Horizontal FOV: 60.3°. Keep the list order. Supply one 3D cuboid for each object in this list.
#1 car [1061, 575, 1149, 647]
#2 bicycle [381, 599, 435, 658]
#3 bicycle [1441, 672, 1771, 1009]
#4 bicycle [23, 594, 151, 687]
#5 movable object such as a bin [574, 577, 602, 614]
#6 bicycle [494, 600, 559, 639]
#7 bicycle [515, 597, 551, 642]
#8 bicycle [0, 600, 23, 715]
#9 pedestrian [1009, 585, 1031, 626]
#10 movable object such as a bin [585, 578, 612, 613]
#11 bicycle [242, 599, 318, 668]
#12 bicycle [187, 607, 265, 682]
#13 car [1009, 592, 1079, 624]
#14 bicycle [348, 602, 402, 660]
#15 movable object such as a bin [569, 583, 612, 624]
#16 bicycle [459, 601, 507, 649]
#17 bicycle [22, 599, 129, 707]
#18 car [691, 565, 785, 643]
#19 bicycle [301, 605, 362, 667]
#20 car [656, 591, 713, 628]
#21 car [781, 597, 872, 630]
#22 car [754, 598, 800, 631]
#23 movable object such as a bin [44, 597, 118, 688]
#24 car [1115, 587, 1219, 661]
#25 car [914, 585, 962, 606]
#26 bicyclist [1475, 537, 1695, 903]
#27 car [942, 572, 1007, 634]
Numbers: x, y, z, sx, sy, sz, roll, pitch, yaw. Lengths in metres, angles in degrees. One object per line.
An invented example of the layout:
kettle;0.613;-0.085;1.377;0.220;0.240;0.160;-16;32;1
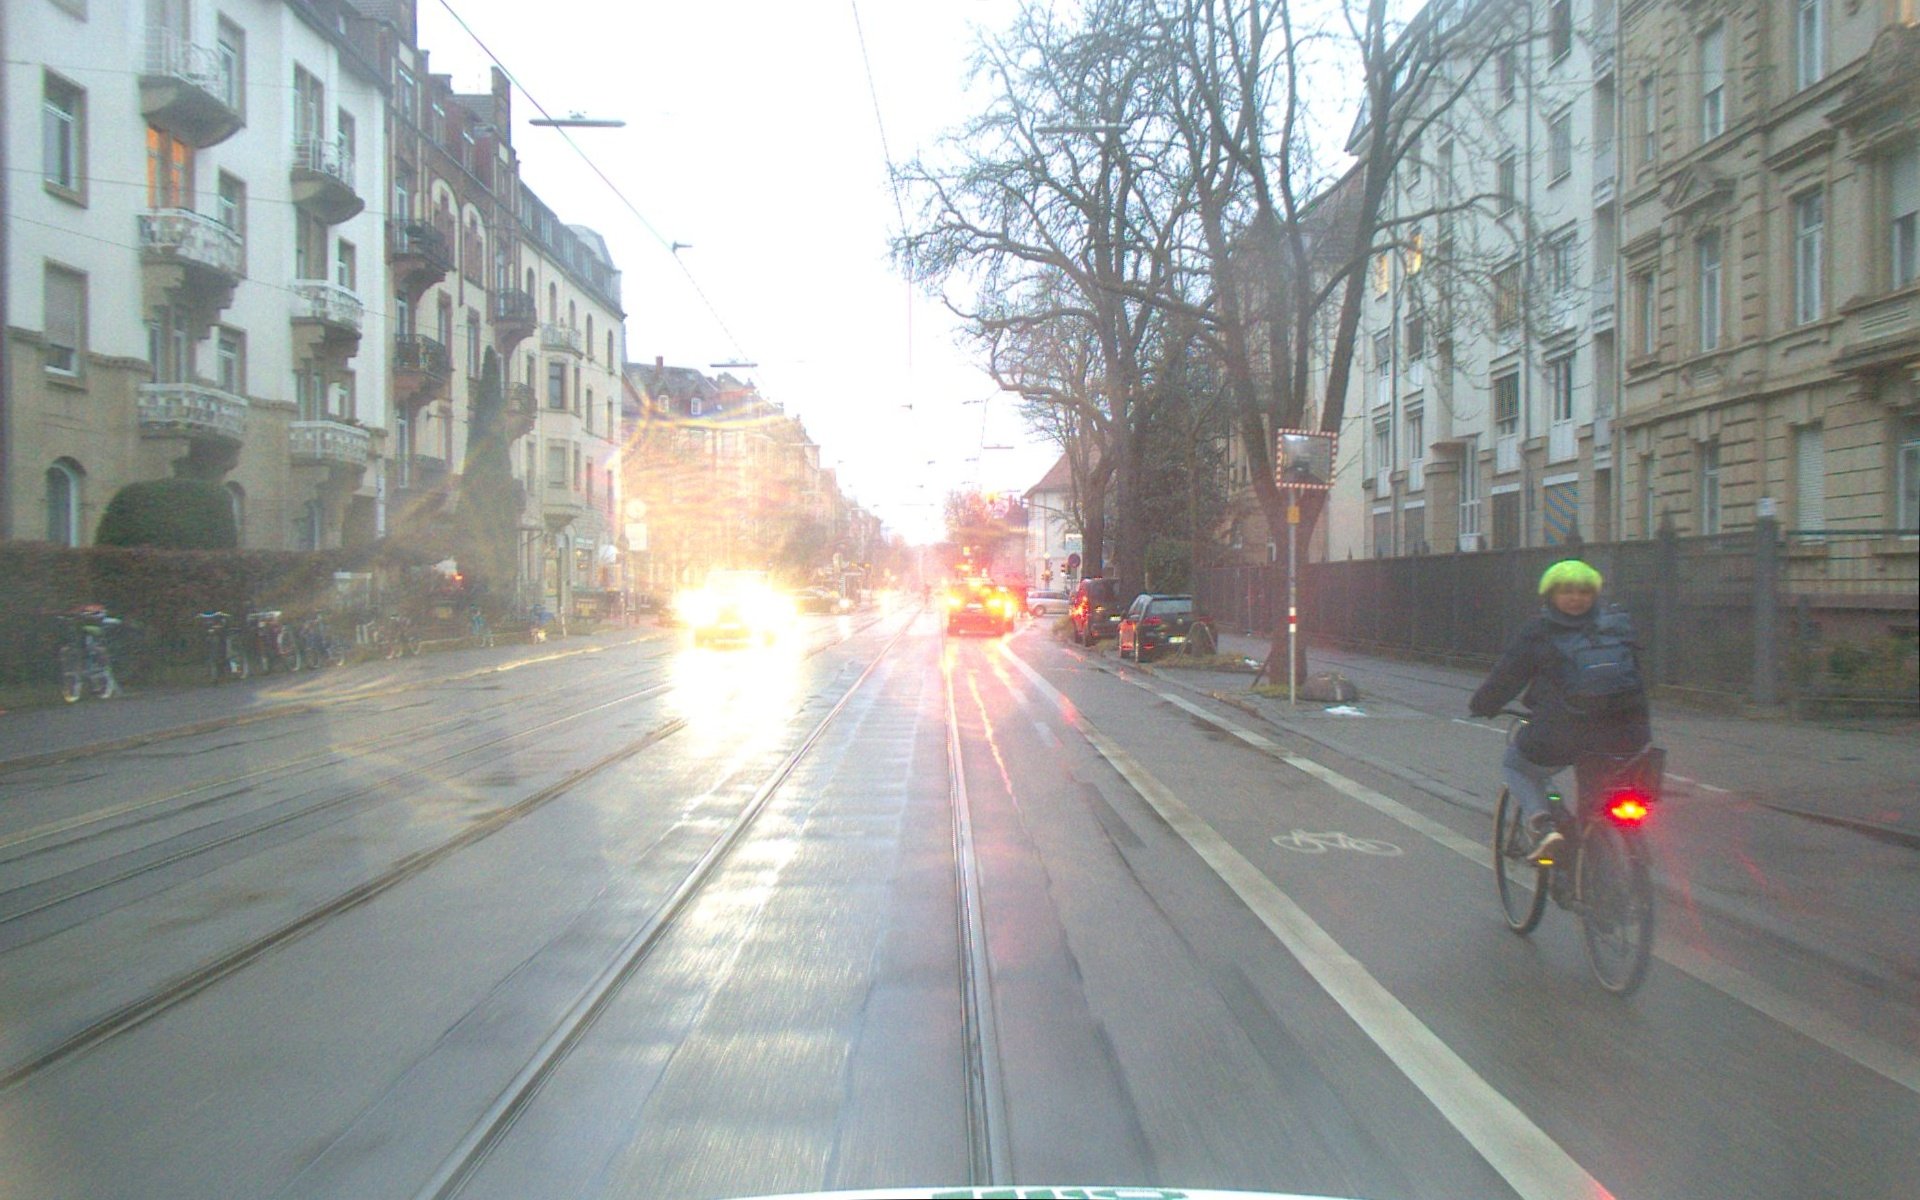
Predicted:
car;4.108;0.262;47.729;1.953;1.933;5.026;-1;1;-2
bicycle;-10.976;0.550;32.931;0.476;1.118;1.930;-1;1;-2
bicycle;2.682;0.933;7.129;0.692;1.116;2.030;-1;1;2
bicycle;-12.517;0.584;23.736;1.556;1.286;0.490;-1;-4;3
movable object such as a bin;-16.997;-0.216;75.637;0.993;1.628;1.081;-1;1;1
bicycle;-12.908;0.573;49.278;1.771;1.099;0.615;-1;1;-8
bicycle;-11.112;0.493;43.072;0.602;1.099;1.809;-1;1;-5
bicycle;-10.630;0.630;17.608;0.618;1.233;1.593;-1;1;-10
pedestrian;3.082;0.286;84.770;1.002;2.049;0.918;-1;1;-4
movable object such as a bin;-17.045;-0.231;78.077;0.993;1.628;1.081;-1;1;1
bicycle;-10.881;0.552;26.511;0.679;1.049;1.594;-1;-3;-6
bicycle;-10.845;0.674;24.487;0.679;1.049;1.591;-1;-3;-10
car;4.754;0.431;93.653;3.905;1.758;1.740;-1;1;1
bicycle;-10.924;0.568;30.916;0.679;1.049;1.593;-1;0;-10
movable object such as a bin;-14.442;0.146;64.687;1.380;1.557;1.364;-1;1;-1
bicycle;-10.949;0.553;37.988;0.613;1.035;1.805;-1;1;-2
bicycle;-10.872;0.627;20.387;0.679;1.233;1.593;-1;1;-10
car;-5.899;0.054;44.468;2.005;1.955;5.098;-1;1;-2
bicycle;-10.960;0.624;28.882;0.679;1.049;1.592;-1;-1;-10
car;-11.700;0.387;70.447;1.796;1.472;4.000;-1;1;-1
car;-7.474;0.761;92.601;4.841;1.747;1.698;0;1;4
car;-7.534;0.578;68.351;1.627;1.219;3.873;-1;1;-2
movable object such as a bin;-11.541;0.547;21.733;0.682;1.157;0.740;-1;1;-15
car;4.463;0.478;36.125;1.643;1.485;4.041;-1;1;-2
car;-1.913;-0.377;142.231;3.913;1.747;1.900;-1;1;-9
bicyclist;2.646;0.477;7.073;0.642;1.471;0.850;0;1;2
car;0.446;0.127;55.201;1.953;1.930;4.757;1;-1;-2
